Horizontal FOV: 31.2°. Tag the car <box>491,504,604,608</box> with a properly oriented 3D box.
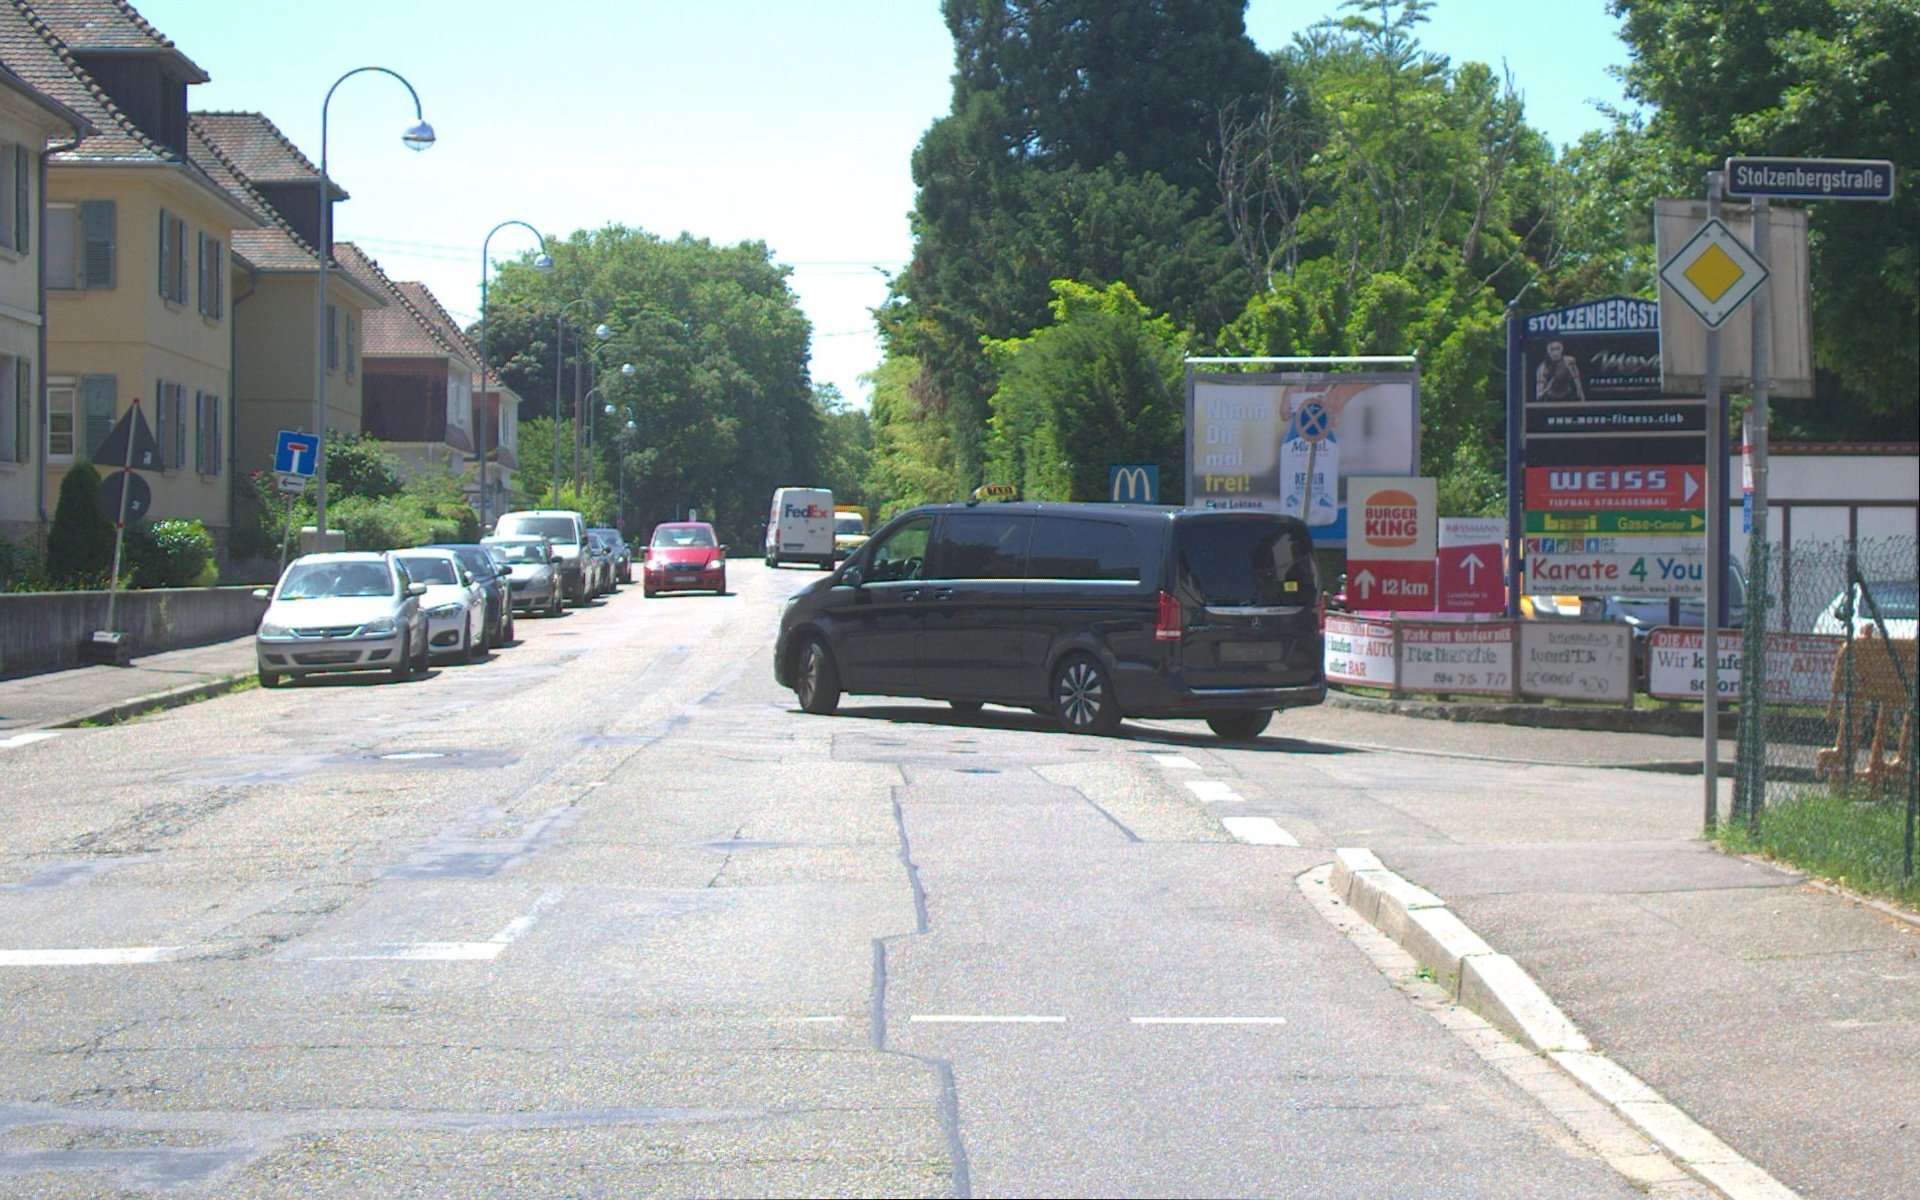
[{"bbox_3d":[-8.285,-0.928,69.416,1.878,1.956,4.626,-2,2,-3],"label":"car"}]

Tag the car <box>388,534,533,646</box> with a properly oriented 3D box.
[{"bbox_3d":[-7.065,-0.168,48.935,1.715,1.480,4.077,-2,1,-4],"label":"car"}]

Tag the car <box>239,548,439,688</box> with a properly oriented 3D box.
[{"bbox_3d":[-6.948,0.160,38.794,1.759,1.442,3.925,-1,1,-4],"label":"car"}]

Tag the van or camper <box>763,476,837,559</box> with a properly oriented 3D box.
[{"bbox_3d":[-5.113,-2.613,109.397,2.262,2.519,4.760,-1,1,-3],"label":"van or camper"}]

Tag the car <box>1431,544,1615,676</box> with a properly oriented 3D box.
[{"bbox_3d":[8.494,0.109,52.222,1.774,1.793,4.166,4,1,-3],"label":"car"}]

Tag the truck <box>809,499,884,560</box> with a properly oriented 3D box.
[{"bbox_3d":[-4.379,-2.698,131.766,2.355,2.250,6.093,0,1,-7],"label":"truck"}]

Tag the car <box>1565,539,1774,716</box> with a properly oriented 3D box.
[{"bbox_3d":[7.310,0.226,35.766,1.712,1.659,4.459,2,1,7],"label":"car"}]

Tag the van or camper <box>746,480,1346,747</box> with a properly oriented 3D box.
[{"bbox_3d":[0.598,0.037,28.618,1.903,2.007,5.268,0,1,-41],"label":"van or camper"}]

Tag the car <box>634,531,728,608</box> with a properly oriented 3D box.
[{"bbox_3d":[-5.887,-0.669,72.818,1.814,1.560,3.697,-1,1,-2],"label":"car"}]

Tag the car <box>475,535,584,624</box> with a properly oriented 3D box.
[{"bbox_3d":[-7.799,-0.400,62.484,1.686,1.520,4.063,0,1,-3],"label":"car"}]

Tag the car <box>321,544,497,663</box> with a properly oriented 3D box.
[{"bbox_3d":[-6.951,0.004,43.689,1.794,1.397,4.220,-1,1,-4],"label":"car"}]

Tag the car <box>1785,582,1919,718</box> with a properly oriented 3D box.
[{"bbox_3d":[9.518,0.488,35.299,1.712,1.265,3.384,1,1,8],"label":"car"}]

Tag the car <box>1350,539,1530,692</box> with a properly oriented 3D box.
[{"bbox_3d":[4.994,0.121,36.152,1.712,1.518,3.839,0,1,6],"label":"car"}]
